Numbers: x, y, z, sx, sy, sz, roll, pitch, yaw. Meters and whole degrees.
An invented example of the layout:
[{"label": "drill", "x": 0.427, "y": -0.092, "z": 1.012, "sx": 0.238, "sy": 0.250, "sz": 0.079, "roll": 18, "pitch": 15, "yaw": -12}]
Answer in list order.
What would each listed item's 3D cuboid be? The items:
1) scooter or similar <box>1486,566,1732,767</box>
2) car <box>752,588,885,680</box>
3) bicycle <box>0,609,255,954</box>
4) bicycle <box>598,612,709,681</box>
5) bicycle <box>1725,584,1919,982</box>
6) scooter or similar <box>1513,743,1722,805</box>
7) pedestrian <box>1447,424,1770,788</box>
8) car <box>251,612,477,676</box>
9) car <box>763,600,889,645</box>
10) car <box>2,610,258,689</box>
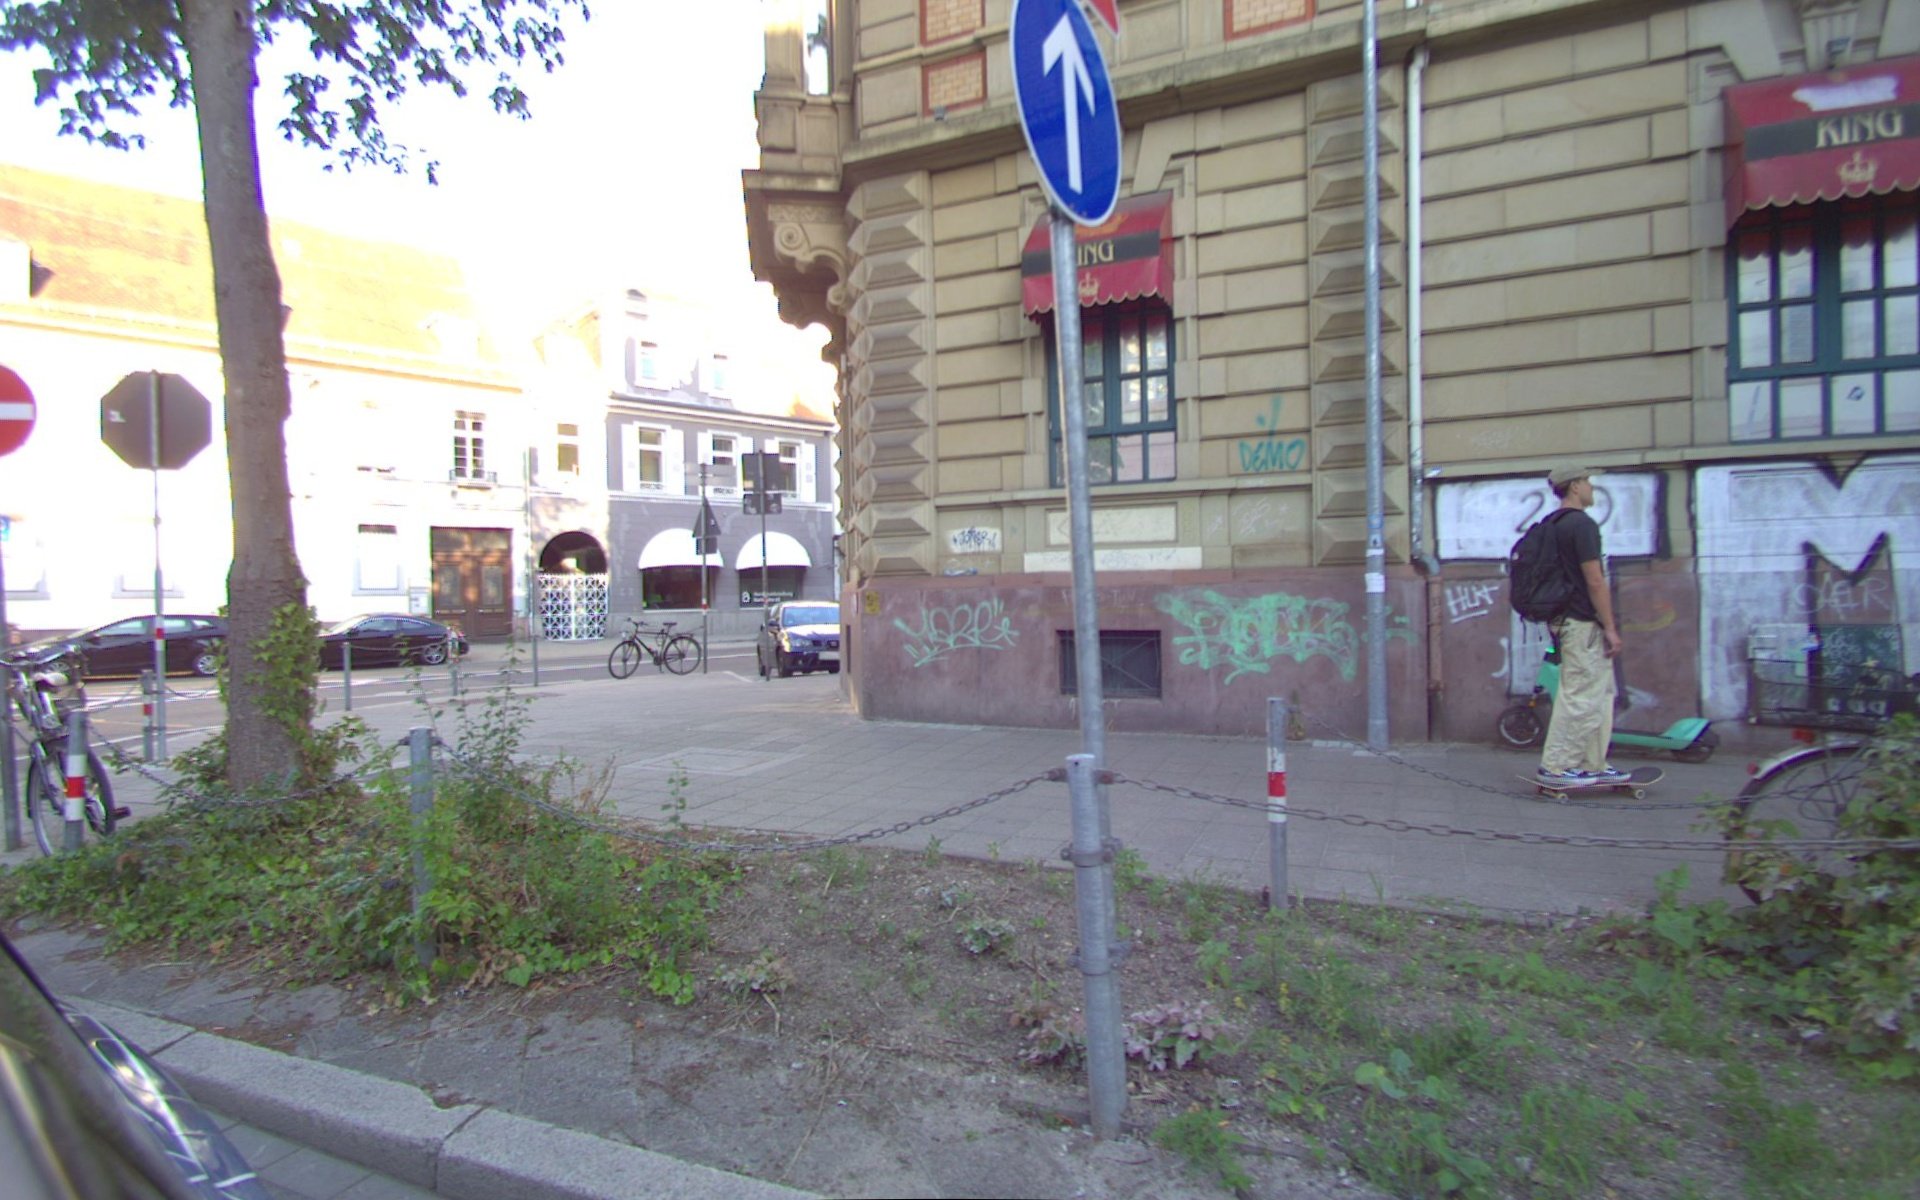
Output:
[{"label": "scooter or similar", "x": 4.160, "y": 0.395, "z": 6.527, "sx": 1.285, "sy": 1.176, "sz": 0.434, "roll": -1, "pitch": 2, "yaw": 38}, {"label": "car", "x": -2.731, "y": 0.672, "z": 18.775, "sx": 1.711, "sy": 1.472, "sz": 3.875, "roll": -1, "pitch": -3, "yaw": -18}, {"label": "bicycle", "x": -4.313, "y": 0.706, "z": 4.914, "sx": 2.570, "sy": 1.277, "sz": 0.834, "roll": -2, "pitch": -1, "yaw": 40}, {"label": "bicycle", "x": -5.563, "y": 0.836, "z": 18.405, "sx": 1.773, "sy": 1.134, "sz": 0.730, "roll": -2, "pitch": -3, "yaw": -34}, {"label": "bicycle", "x": 3.568, "y": 0.525, "z": 2.912, "sx": 2.089, "sy": 1.162, "sz": 0.508, "roll": -2, "pitch": 1, "yaw": 26}, {"label": "scooter or similar", "x": 3.539, "y": 0.936, "z": 5.500, "sx": 0.875, "sy": 0.208, "sz": 0.416, "roll": -1, "pitch": 3, "yaw": 20}, {"label": "pedestrian", "x": 3.417, "y": 0.040, "z": 5.486, "sx": 1.257, "sy": 1.752, "sz": 0.845, "roll": -2, "pitch": 1, "yaw": 20}, {"label": "car", "x": -15.302, "y": 1.073, "z": 26.149, "sx": 4.782, "sy": 1.405, "sz": 1.781, "roll": -1, "pitch": -1, "yaw": -41}, {"label": "car", "x": -4.711, "y": 0.767, "z": 35.998, "sx": 4.185, "sy": 1.458, "sz": 1.750, "roll": -1, "pitch": 0, "yaw": -43}, {"label": "car", "x": -18.760, "y": 1.056, "z": 23.044, "sx": 4.363, "sy": 1.553, "sz": 1.809, "roll": -1, "pitch": -1, "yaw": -42}]
